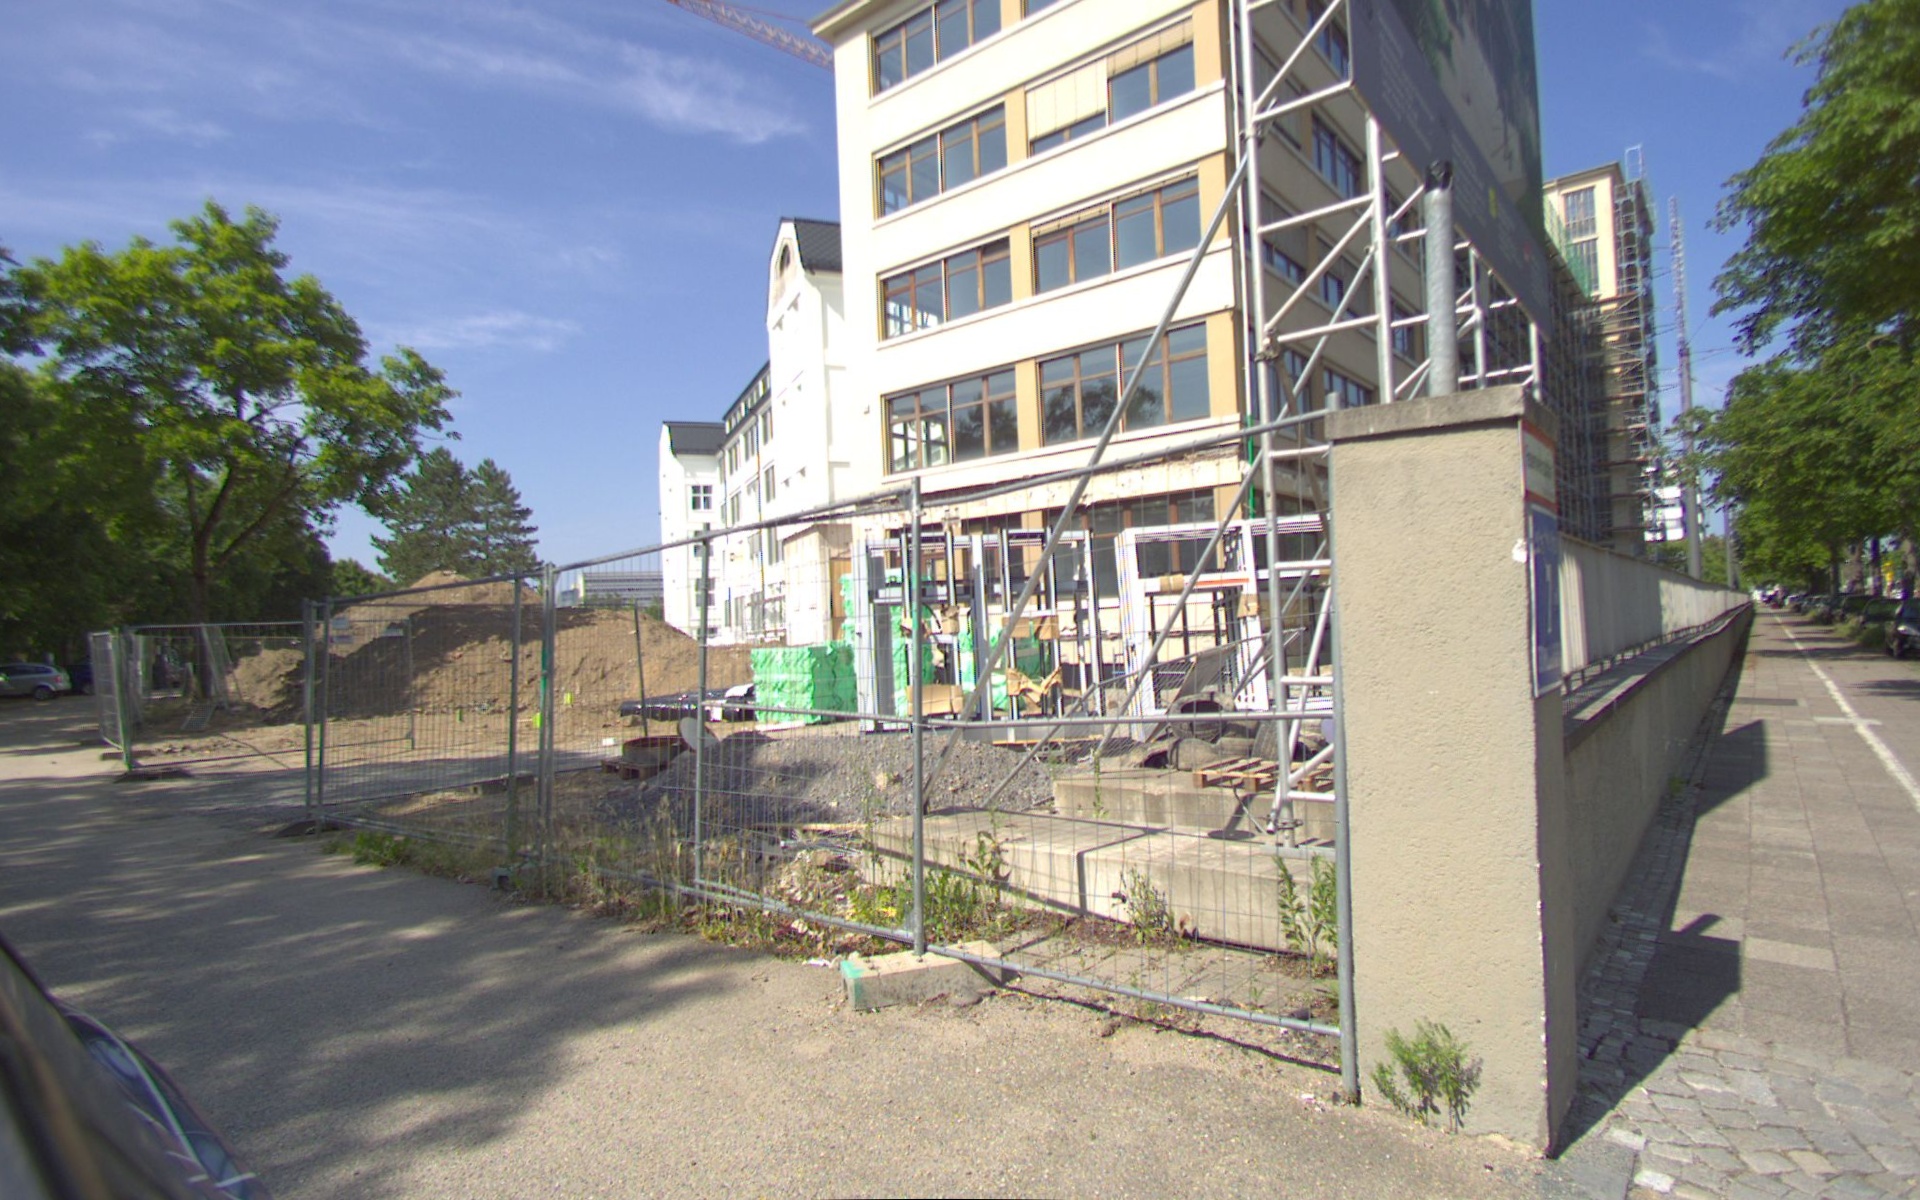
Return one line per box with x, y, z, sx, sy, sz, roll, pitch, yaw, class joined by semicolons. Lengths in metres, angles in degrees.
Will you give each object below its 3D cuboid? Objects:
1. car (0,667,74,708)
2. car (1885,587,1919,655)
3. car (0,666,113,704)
-38.236;3.541;40.465;3.932;1.519;2.006;-1;-2;-31;car
22.676;0.424;23.178;1.819;1.464;3.949;-4;-2;38;car
-40.659;3.797;45.288;3.932;1.453;2.006;-1;-2;-31;car
